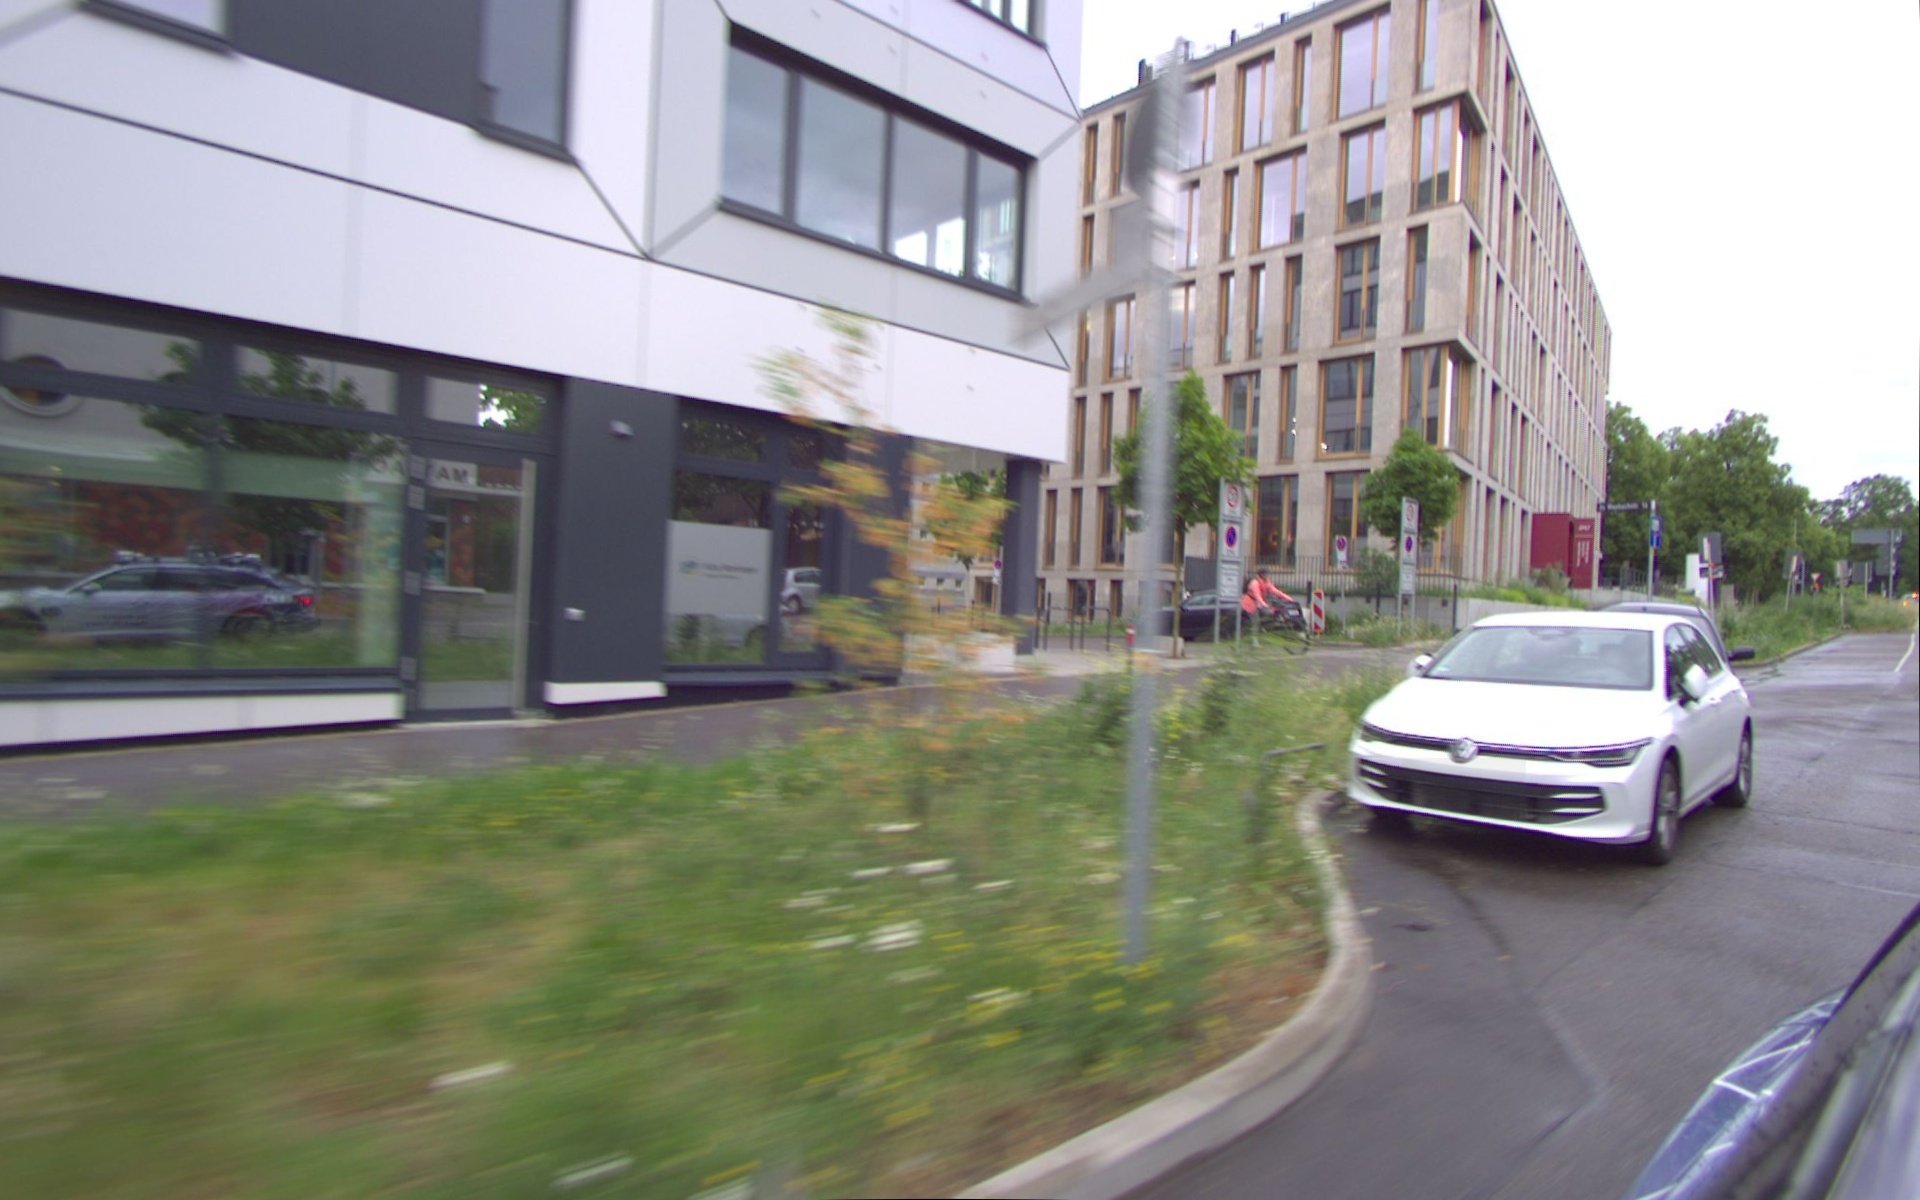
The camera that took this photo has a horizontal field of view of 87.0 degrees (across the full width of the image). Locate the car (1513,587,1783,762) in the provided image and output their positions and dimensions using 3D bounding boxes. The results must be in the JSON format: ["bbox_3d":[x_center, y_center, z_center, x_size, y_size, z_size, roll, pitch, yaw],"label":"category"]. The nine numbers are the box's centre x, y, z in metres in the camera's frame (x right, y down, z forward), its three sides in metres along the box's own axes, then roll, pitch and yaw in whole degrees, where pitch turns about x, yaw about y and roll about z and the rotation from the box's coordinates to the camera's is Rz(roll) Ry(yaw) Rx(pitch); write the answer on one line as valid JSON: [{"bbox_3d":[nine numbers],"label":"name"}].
[{"bbox_3d":[7.350,0.609,10.880,2.038,1.476,4.004,1,1,35],"label":"car"}]

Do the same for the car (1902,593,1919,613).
[{"bbox_3d":[87.405,0.240,92.180,1.890,1.726,4.449,1,2,38],"label":"car"}]

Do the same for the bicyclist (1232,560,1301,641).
[{"bbox_3d":[6.014,0.000,19.875,1.070,1.522,0.828,0,1,38],"label":"bicyclist"}]

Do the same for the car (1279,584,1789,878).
[{"bbox_3d":[4.384,0.626,7.390,4.427,1.482,2.042,-1,1,-43],"label":"car"}]

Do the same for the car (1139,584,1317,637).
[{"bbox_3d":[6.902,0.234,26.378,1.701,1.260,4.233,-1,1,-43],"label":"car"}]

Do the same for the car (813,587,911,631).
[{"bbox_3d":[-3.778,0.313,38.597,1.827,1.551,3.837,0,1,-42],"label":"car"}]

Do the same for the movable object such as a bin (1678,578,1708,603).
[{"bbox_3d":[44.818,-0.601,61.904,1.092,1.476,1.248,-1,-1,-42],"label":"movable object such as a bin"}]

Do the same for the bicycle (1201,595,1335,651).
[{"bbox_3d":[6.017,0.416,19.890,2.471,1.033,0.617,0,1,40],"label":"bicycle"}]
